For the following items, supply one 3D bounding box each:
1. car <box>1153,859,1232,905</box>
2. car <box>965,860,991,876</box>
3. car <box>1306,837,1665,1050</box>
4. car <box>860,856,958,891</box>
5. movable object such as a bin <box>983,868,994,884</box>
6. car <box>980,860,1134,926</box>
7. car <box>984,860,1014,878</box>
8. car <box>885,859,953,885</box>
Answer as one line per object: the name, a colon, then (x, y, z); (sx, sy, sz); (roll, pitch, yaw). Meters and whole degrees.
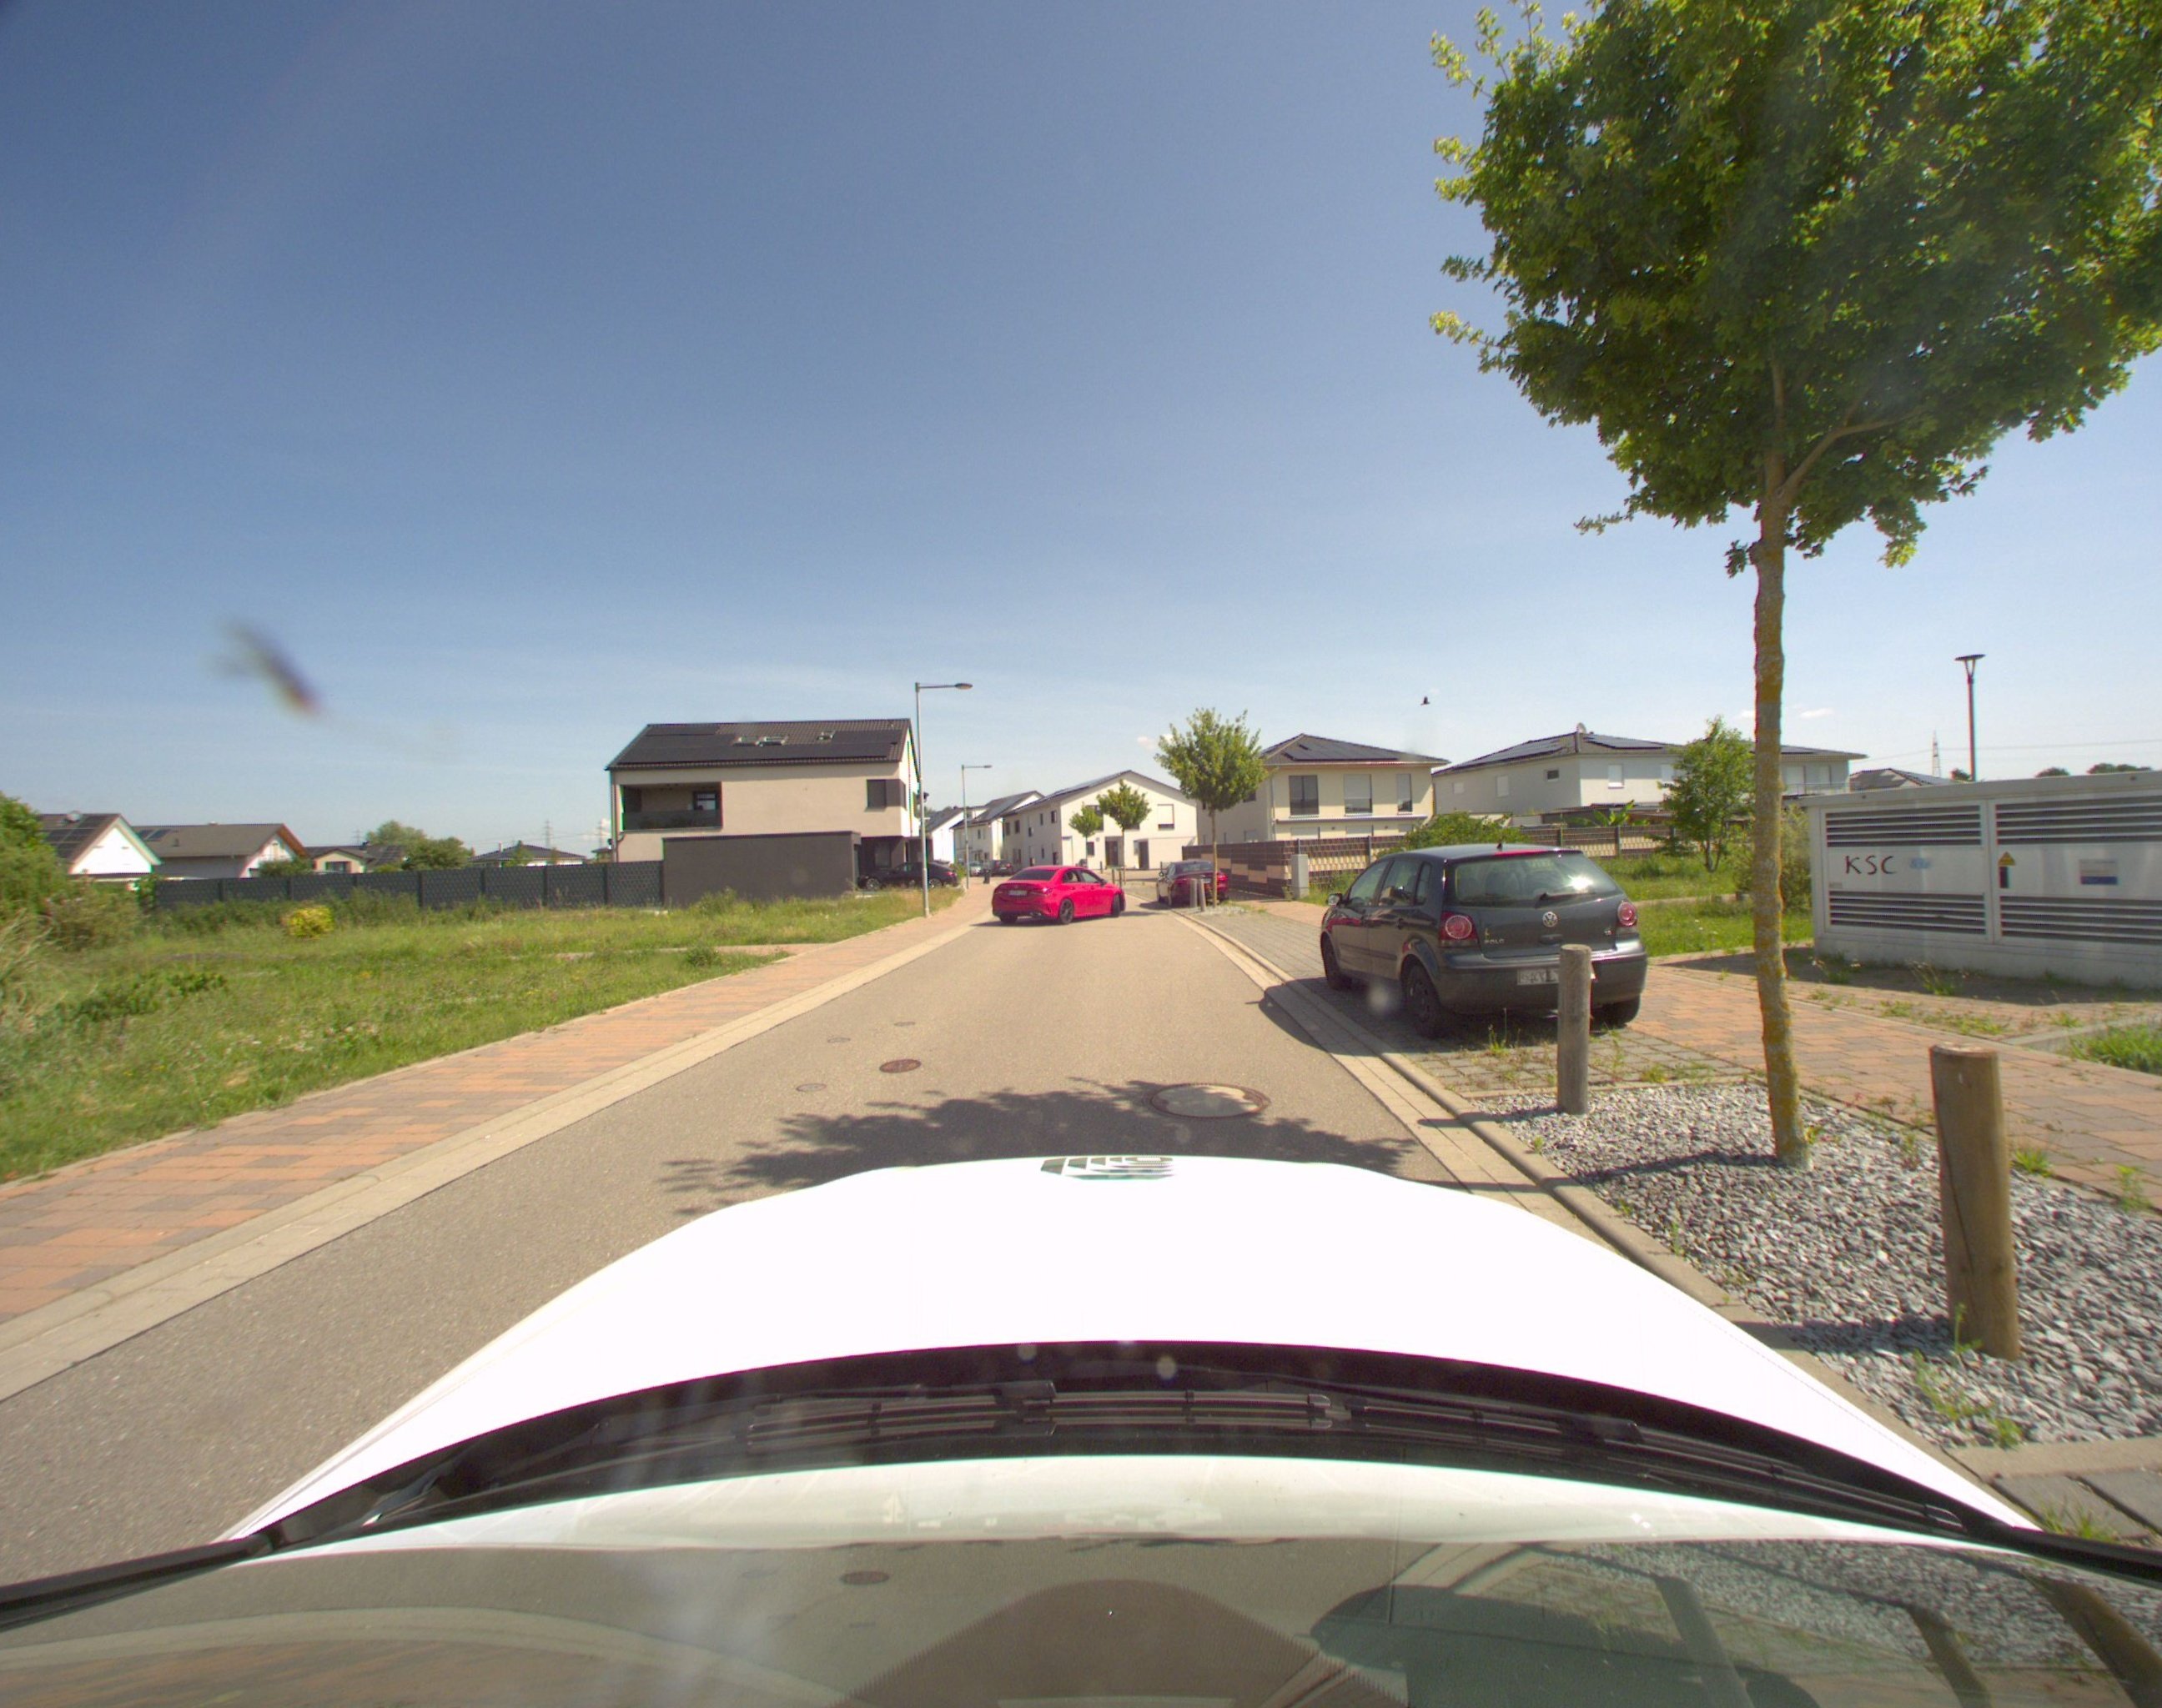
car: (3.535, 0.848, 26.629); (1.750, 1.363, 4.571); (-1, 0, -2)
car: (-9.970, 1.349, 78.456); (1.682, 1.464, 3.918); (-3, 0, -19)
car: (3.360, 0.634, 7.586); (1.592, 1.475, 3.676); (-1, 0, 2)
car: (-8.142, 0.916, 38.873); (4.369, 1.631, 1.767); (0, -1, -6)
movable object such as a bin: (-5.604, 1.312, 49.380); (0.532, 0.936, 0.526); (0, -1, 3)
car: (-0.465, 0.914, 20.722); (1.745, 1.438, 4.548); (-1, 0, 31)
car: (-6.948, 1.272, 68.958); (1.731, 1.423, 3.977); (-3, 0, -17)
car: (-10.249, 1.108, 51.681); (3.979, 1.486, 1.752); (-2, 0, -4)
